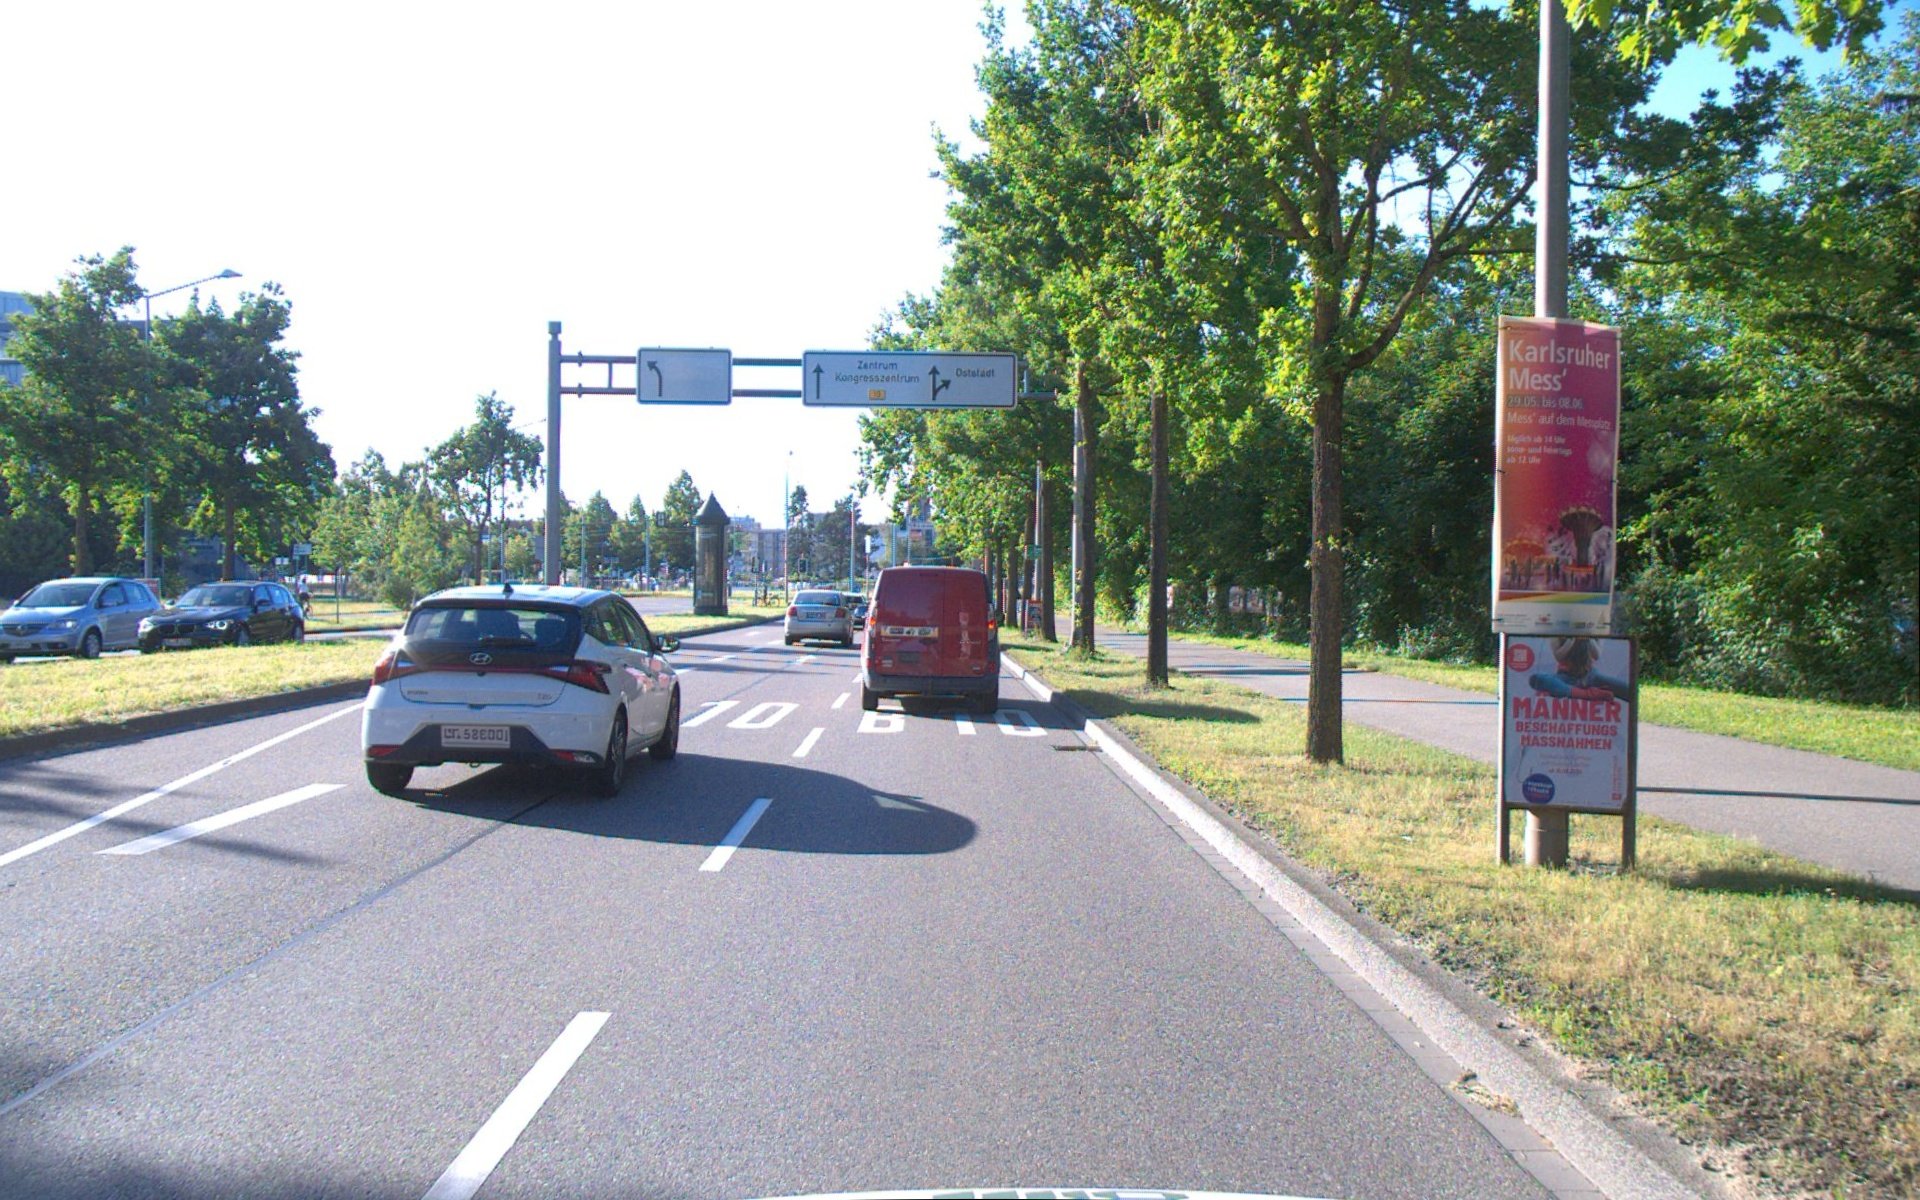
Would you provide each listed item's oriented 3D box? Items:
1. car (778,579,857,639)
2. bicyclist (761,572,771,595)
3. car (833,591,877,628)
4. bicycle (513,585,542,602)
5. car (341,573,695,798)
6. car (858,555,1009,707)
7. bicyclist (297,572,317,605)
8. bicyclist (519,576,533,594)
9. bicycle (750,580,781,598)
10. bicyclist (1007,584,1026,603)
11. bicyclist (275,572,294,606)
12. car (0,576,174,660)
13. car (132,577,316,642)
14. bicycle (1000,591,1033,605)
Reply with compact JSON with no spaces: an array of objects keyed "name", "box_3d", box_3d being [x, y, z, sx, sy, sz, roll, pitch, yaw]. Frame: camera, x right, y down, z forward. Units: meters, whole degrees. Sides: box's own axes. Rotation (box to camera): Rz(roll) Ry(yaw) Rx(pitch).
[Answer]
[{"name":"car","box_3d":[-3.822,0.201,44.807,1.803,1.482,4.162,2,1,-1]},{"name":"bicyclist","box_3d":[-12.510,-1.080,106.738,0.591,1.494,0.517,0,0,-3]},{"name":"car","box_3d":[-4.229,0.368,66.837,1.628,1.422,3.558,0,1,-2]},{"name":"bicycle","box_3d":[-27.804,-0.421,106.257,1.690,1.126,0.605,0,0,11]},{"name":"car","box_3d":[-3.232,0.533,12.931,1.742,1.433,4.074,1,1,-2]},{"name":"car","box_3d":[-0.374,0.341,21.948,1.770,1.790,4.005,2,1,-2]},{"name":"bicyclist","box_3d":[-27.754,-0.491,70.331,0.551,1.416,0.747,0,0,-3]},{"name":"bicyclist","box_3d":[-27.883,-0.983,106.272,0.719,1.126,0.605,0,0,11]},{"name":"bicycle","box_3d":[-12.543,-0.703,106.740,1.919,1.186,0.517,0,0,-3]},{"name":"bicyclist","box_3d":[3.753,-0.426,109.700,0.959,1.271,0.780,0,0,-33]},{"name":"bicyclist","box_3d":[-28.761,-0.480,70.417,0.472,1.419,0.844,0,0,-2]},{"name":"car","box_3d":[-16.747,0.300,31.675,1.655,1.502,4.047,0,1,-3]},{"name":"car","box_3d":[-13.756,0.138,31.178,1.791,1.130,4.172,0,1,-3]},{"name":"bicycle","box_3d":[3.762,-0.129,109.714,2.100,0.975,0.779,0,0,-34]}]
